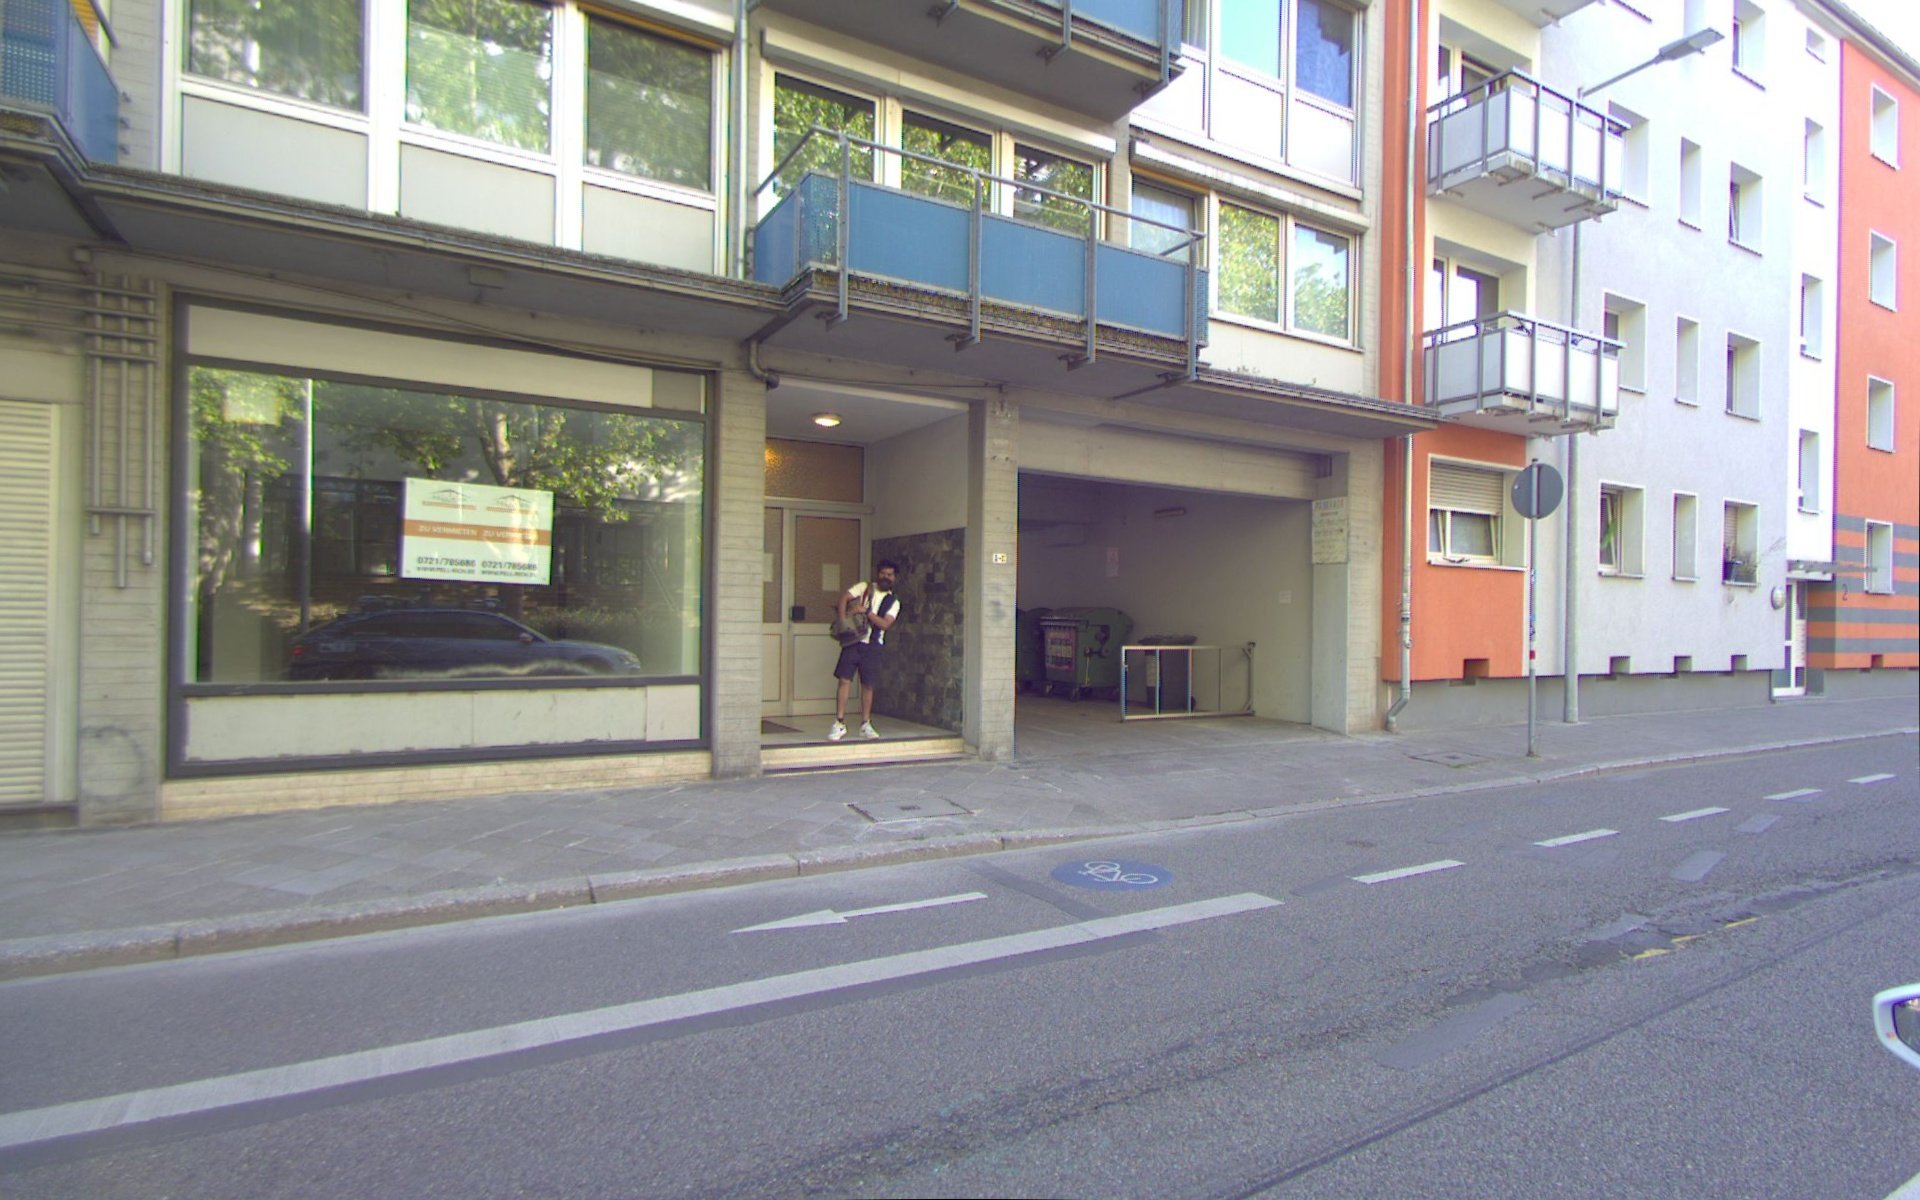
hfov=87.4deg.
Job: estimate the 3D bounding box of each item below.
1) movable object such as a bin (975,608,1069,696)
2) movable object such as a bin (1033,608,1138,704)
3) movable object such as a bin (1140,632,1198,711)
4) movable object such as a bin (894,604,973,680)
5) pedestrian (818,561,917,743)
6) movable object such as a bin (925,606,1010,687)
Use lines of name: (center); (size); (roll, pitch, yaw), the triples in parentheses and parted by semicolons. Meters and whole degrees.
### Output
movable object such as a bin: (1.044, 0.864, 17.225); (1.067, 1.433, 1.312); (1, 0, -30)
movable object such as a bin: (1.970, 0.851, 15.862); (1.067, 1.433, 1.312); (1, 0, -30)
movable object such as a bin: (3.018, 1.016, 14.498); (0.646, 1.102, 0.487); (1, 0, -30)
movable object such as a bin: (-0.535, 0.810, 19.885); (1.067, 1.433, 1.312); (1, 0, -30)
pedestrian: (-0.858, 0.466, 9.285); (0.747, 1.600, 0.511); (1, 0, -30)
movable object such as a bin: (0.124, 0.843, 18.681); (1.067, 1.433, 1.312); (1, 0, -30)
